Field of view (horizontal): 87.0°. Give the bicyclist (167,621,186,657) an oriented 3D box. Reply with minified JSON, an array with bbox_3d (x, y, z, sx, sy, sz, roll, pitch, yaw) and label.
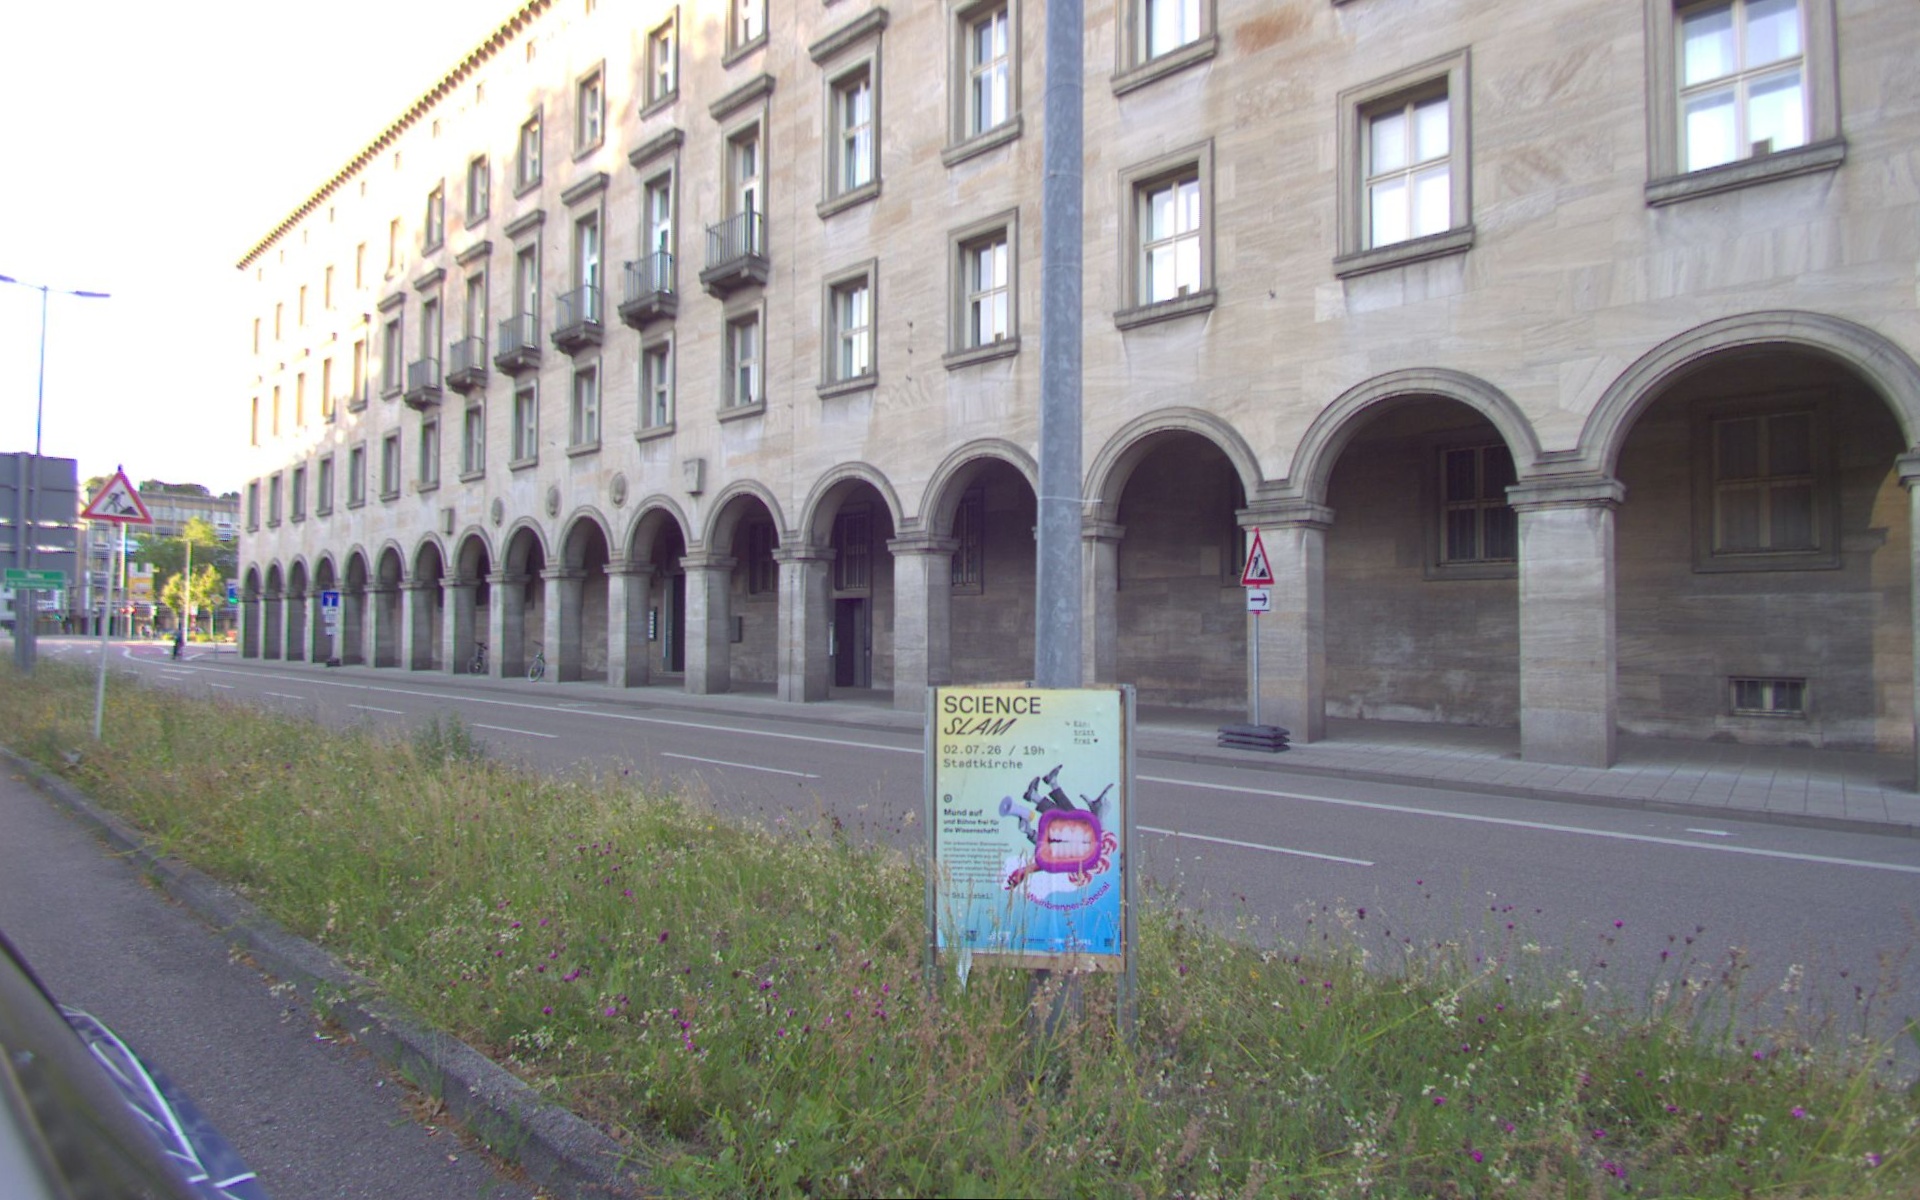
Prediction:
[{"bbox_3d":[-37.436,1.873,48.378,0.748,1.706,0.531,-1,-3,40],"label":"bicyclist"}]

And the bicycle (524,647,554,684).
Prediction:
[{"bbox_3d":[-12.407,1.915,29.884,0.471,1.013,2.010,1,-2,-13],"label":"bicycle"}]

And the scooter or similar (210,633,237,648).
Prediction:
[{"bbox_3d":[-64.800,3.546,89.050,0.499,1.315,1.842,-1,-2,35],"label":"scooter or similar"}]

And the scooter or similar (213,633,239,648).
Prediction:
[{"bbox_3d":[-64.376,3.545,88.769,0.416,1.315,1.772,-1,-2,35],"label":"scooter or similar"}]

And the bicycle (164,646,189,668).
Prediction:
[{"bbox_3d":[-37.379,2.701,48.283,2.004,1.013,0.536,-2,-3,41],"label":"bicycle"}]

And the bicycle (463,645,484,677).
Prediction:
[{"bbox_3d":[-16.046,2.002,33.374,0.470,1.013,2.011,1,-2,-30],"label":"bicycle"}]

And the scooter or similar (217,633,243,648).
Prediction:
[{"bbox_3d":[-63.638,3.518,88.210,0.422,1.315,1.819,-1,-2,35],"label":"scooter or similar"}]
